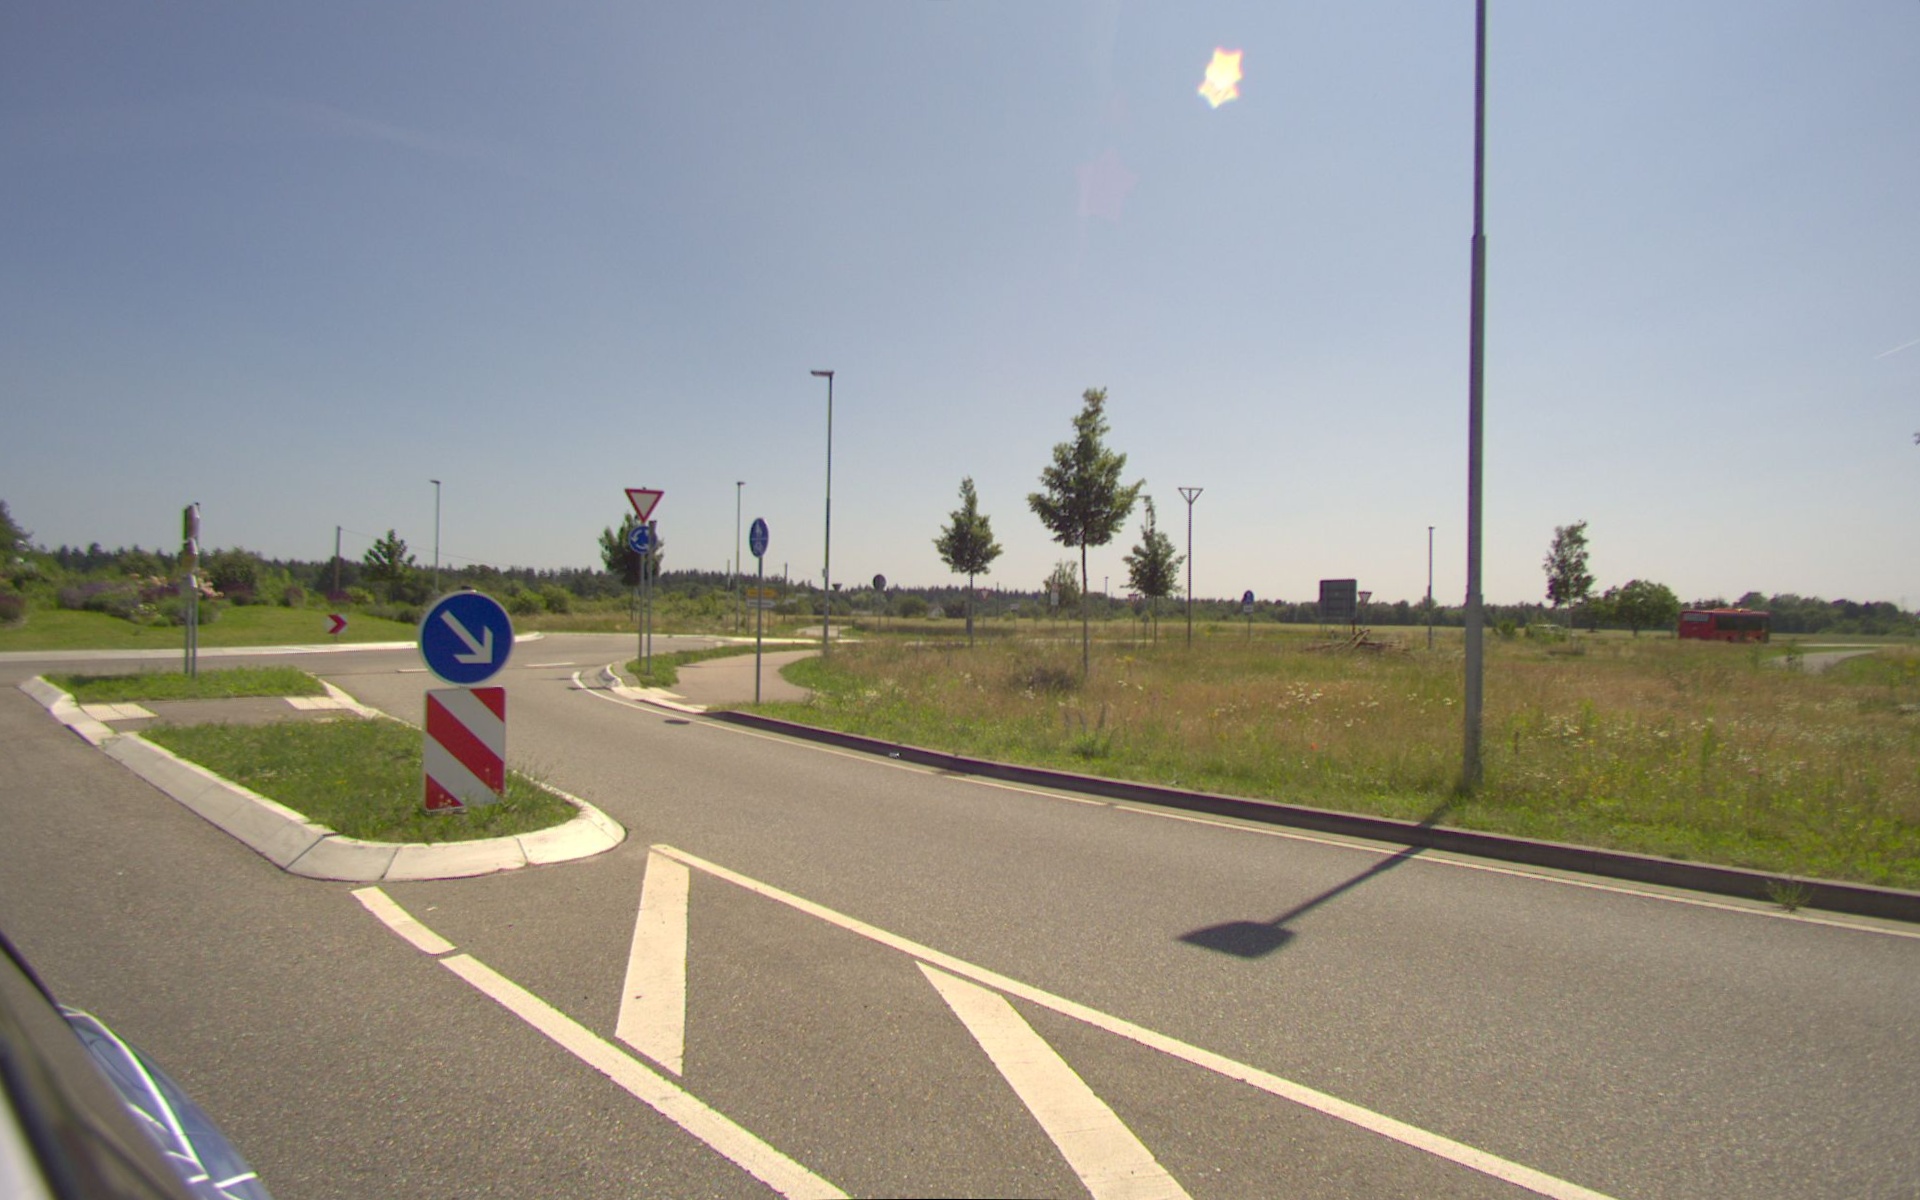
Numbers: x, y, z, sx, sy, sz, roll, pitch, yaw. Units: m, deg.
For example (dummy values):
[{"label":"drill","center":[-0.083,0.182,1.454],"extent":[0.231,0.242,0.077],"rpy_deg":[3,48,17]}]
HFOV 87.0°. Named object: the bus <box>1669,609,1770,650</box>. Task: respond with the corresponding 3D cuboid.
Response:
[{"label":"bus","center":[64.625,2.537,85.942],"extent":[11.790,3.334,3.322],"rpy_deg":[2,-2,-35]}]
